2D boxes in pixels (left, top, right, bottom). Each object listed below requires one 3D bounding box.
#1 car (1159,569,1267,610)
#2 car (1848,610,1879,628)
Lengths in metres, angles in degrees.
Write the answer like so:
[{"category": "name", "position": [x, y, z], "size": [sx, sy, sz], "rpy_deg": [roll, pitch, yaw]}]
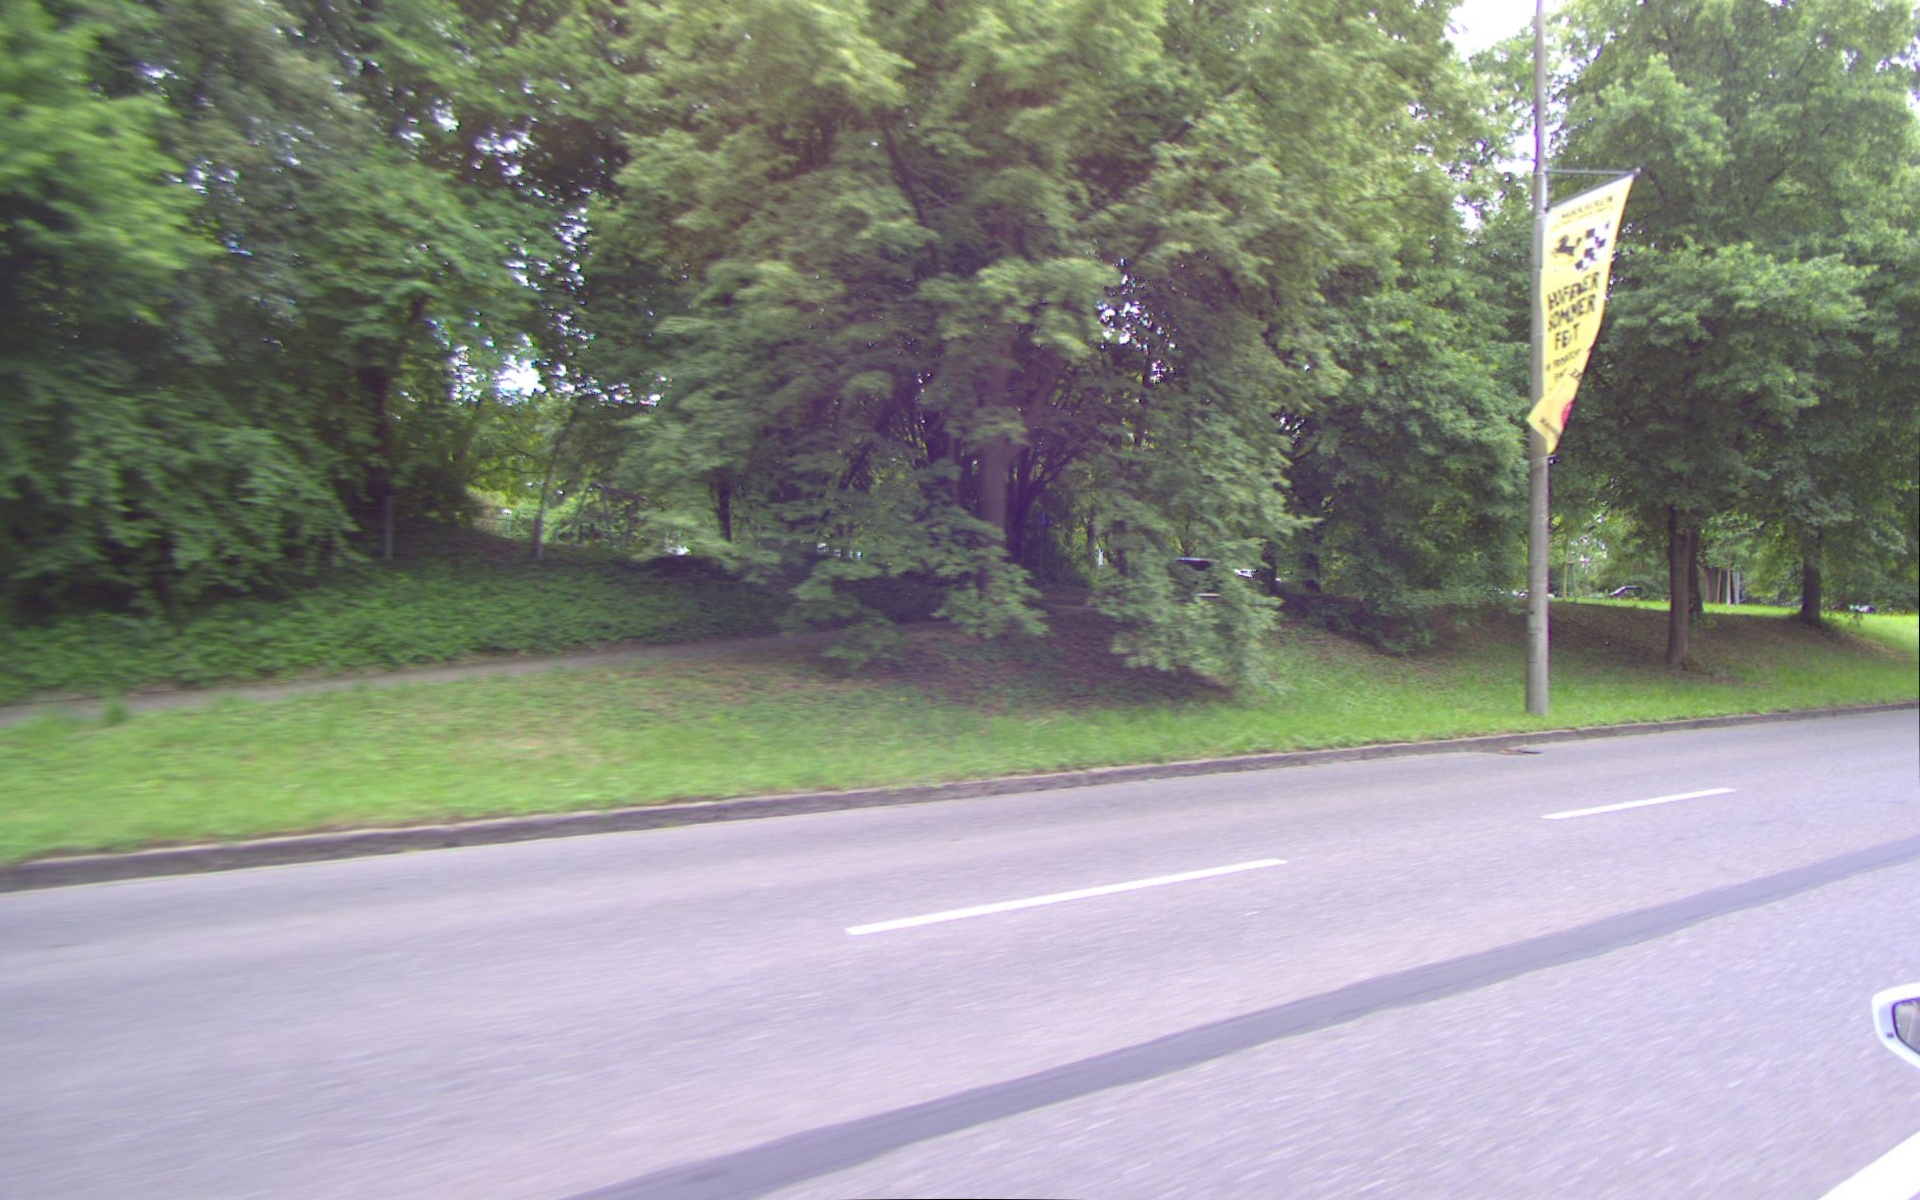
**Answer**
[{"category": "car", "position": [12.684, -0.534, 50.428], "size": [4.821, 1.921, 1.995], "rpy_deg": [2, 0, 33]}, {"category": "car", "position": [82.841, 1.754, 92.129], "size": [1.624, 1.506, 3.986], "rpy_deg": [2, 0, 36]}]
